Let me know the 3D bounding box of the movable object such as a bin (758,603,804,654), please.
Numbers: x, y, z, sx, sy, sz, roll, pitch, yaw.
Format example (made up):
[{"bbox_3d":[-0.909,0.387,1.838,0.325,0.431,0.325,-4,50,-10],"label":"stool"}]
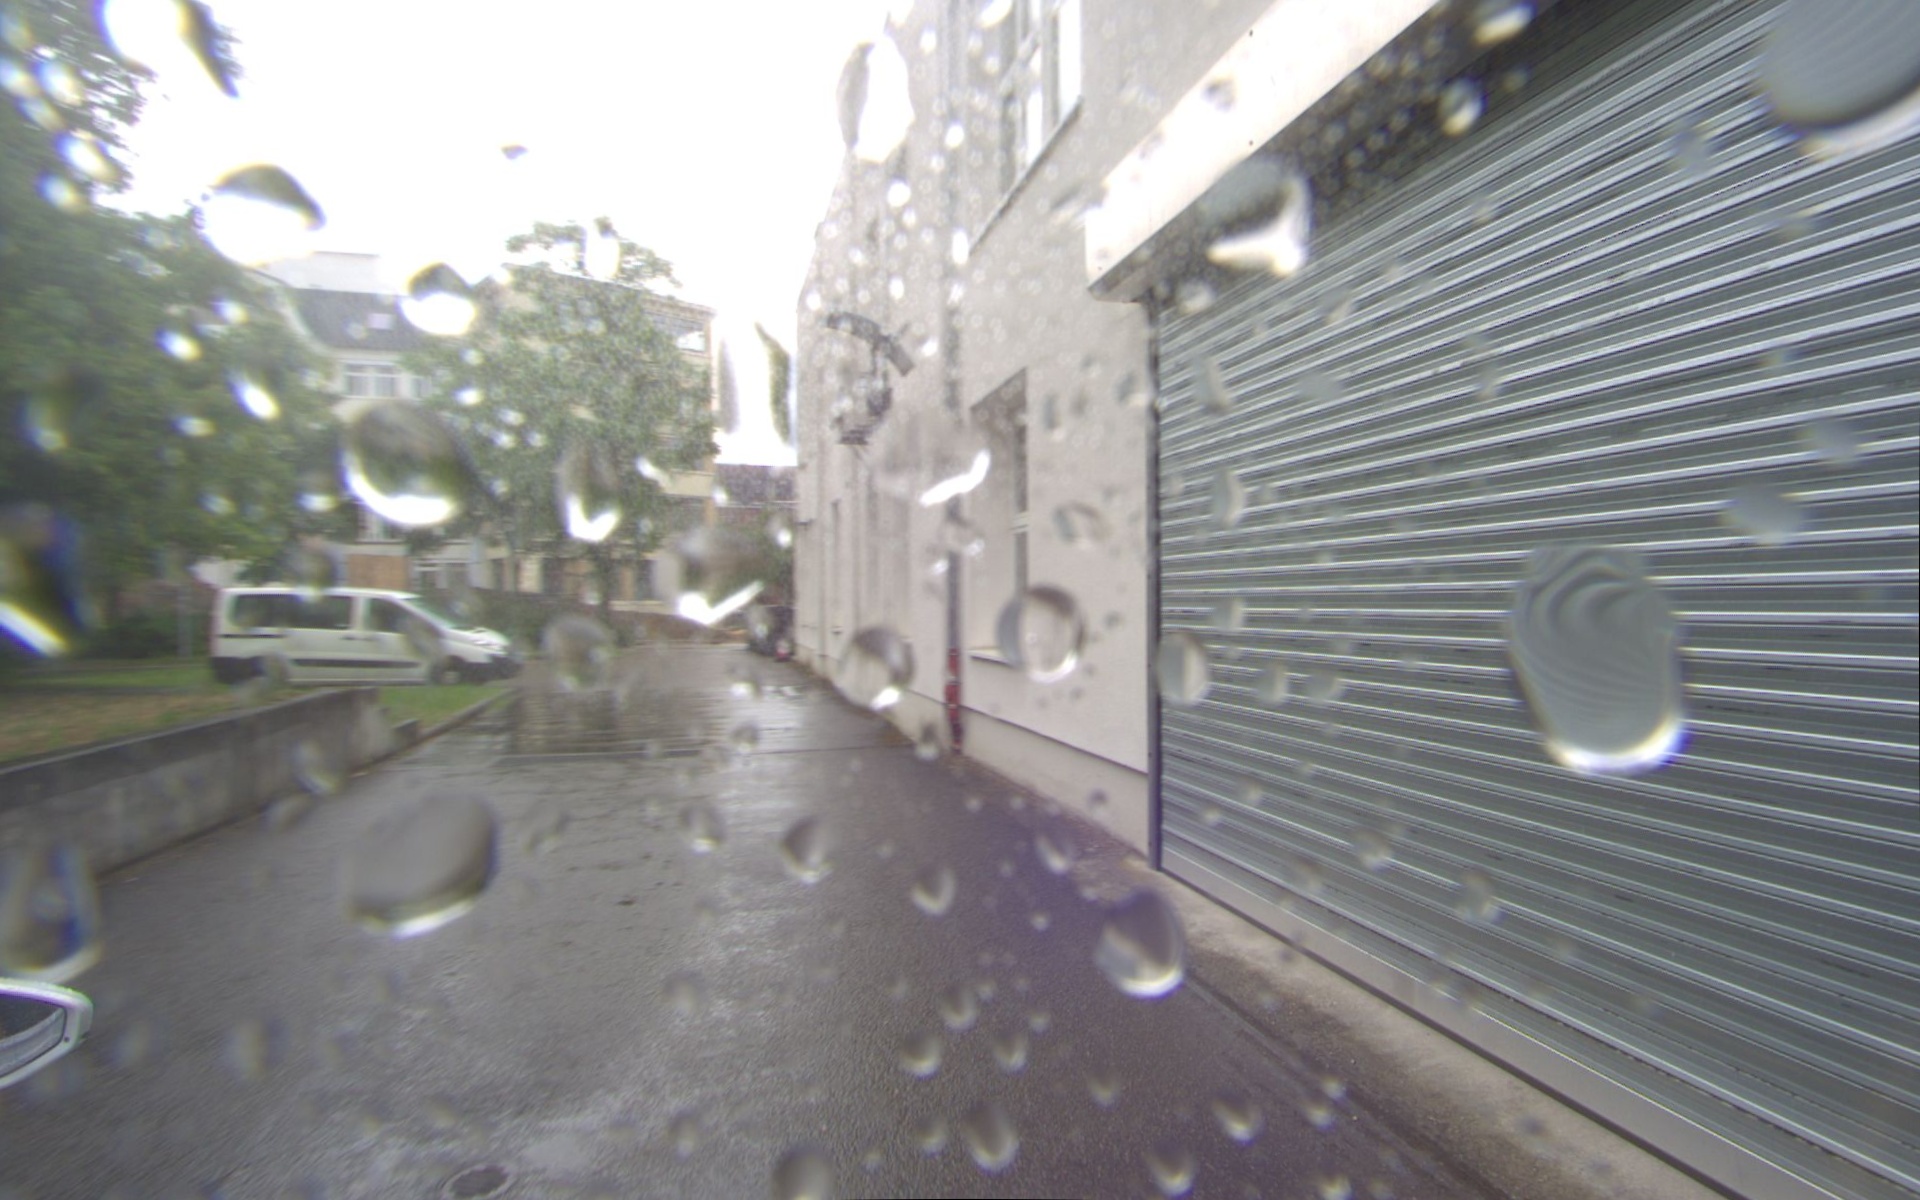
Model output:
[{"bbox_3d":[-5.220,0.841,29.187,1.197,1.455,1.234,0,-2,-16],"label":"movable object such as a bin"}]

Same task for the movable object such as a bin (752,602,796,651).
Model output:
[{"bbox_3d":[-5.730,0.825,30.804,1.197,1.455,1.293,0,-2,-16],"label":"movable object such as a bin"}]

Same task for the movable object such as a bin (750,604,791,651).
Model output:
[{"bbox_3d":[-6.148,0.894,32.377,1.197,1.487,1.234,0,-2,-16],"label":"movable object such as a bin"}]

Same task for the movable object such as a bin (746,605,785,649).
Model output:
[{"bbox_3d":[-6.544,0.919,33.694,1.197,1.455,1.258,0,-2,-16],"label":"movable object such as a bin"}]

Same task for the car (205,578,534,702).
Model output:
[{"bbox_3d":[-10.492,0.653,18.227,4.708,2.041,1.997,-1,1,-13],"label":"car"}]

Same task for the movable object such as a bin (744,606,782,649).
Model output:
[{"bbox_3d":[-6.904,0.979,35.023,1.197,1.455,1.258,0,-2,-16],"label":"movable object such as a bin"}]
